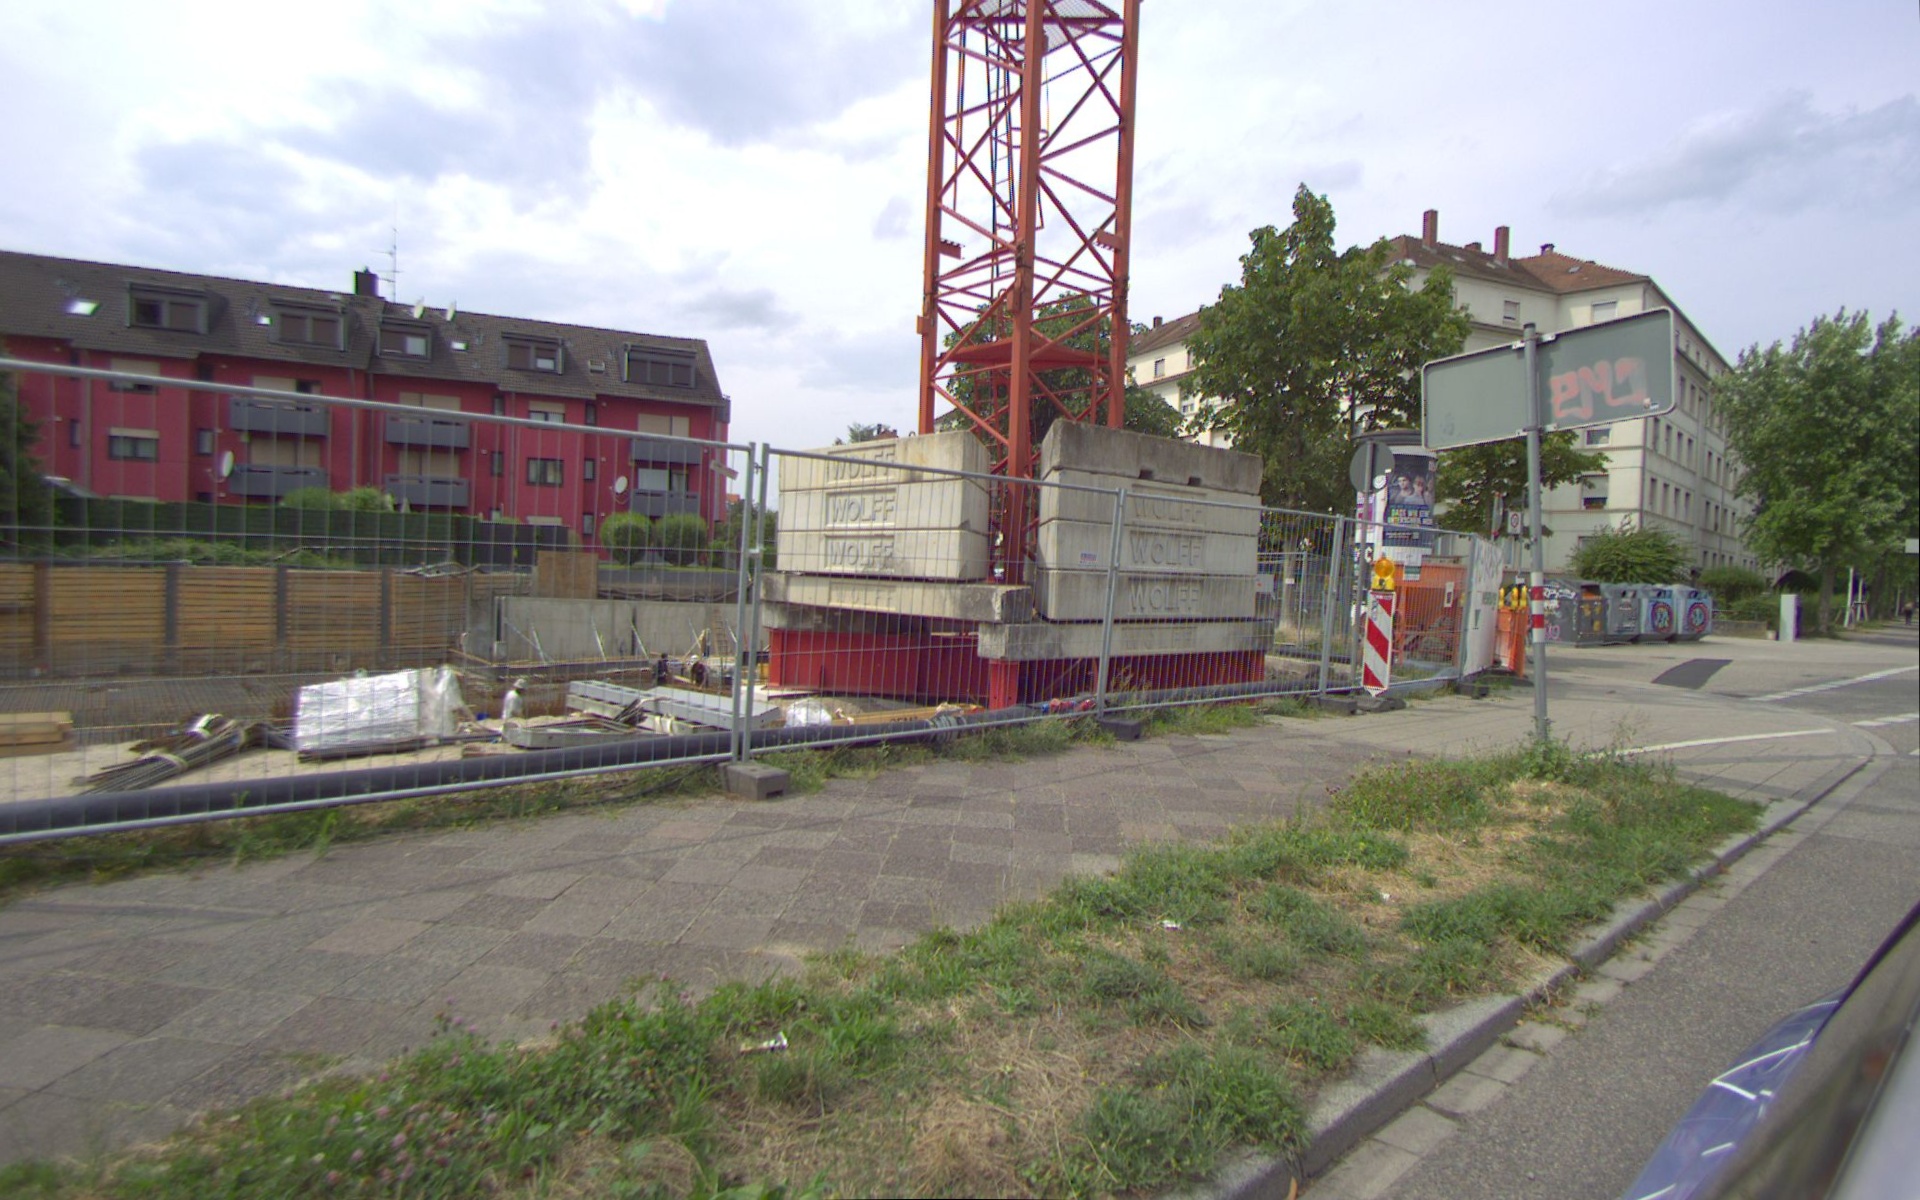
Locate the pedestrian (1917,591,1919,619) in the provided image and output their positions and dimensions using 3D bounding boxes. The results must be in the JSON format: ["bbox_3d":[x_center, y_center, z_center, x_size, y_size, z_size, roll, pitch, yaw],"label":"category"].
[{"bbox_3d":[63.239,0.326,66.169,0.751,1.825,0.807,0,4,-44],"label":"pedestrian"}]

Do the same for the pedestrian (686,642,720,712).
[{"bbox_3d":[-6.944,2.077,27.387,0.706,1.742,0.846,2,3,-4],"label":"pedestrian"}]

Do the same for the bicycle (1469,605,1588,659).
[{"bbox_3d":[11.645,0.620,20.848,0.700,0.945,2.484,2,1,-9],"label":"bicycle"}]

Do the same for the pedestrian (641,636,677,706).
[{"bbox_3d":[-8.015,1.878,26.999,0.706,1.742,0.846,2,3,-4],"label":"pedestrian"}]

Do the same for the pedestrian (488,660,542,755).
[{"bbox_3d":[-8.855,2.124,20.141,0.706,1.742,0.846,2,3,-4],"label":"pedestrian"}]

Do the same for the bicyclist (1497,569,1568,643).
[{"bbox_3d":[11.683,0.123,20.689,0.700,1.431,1.082,2,-1,-9],"label":"bicyclist"}]
